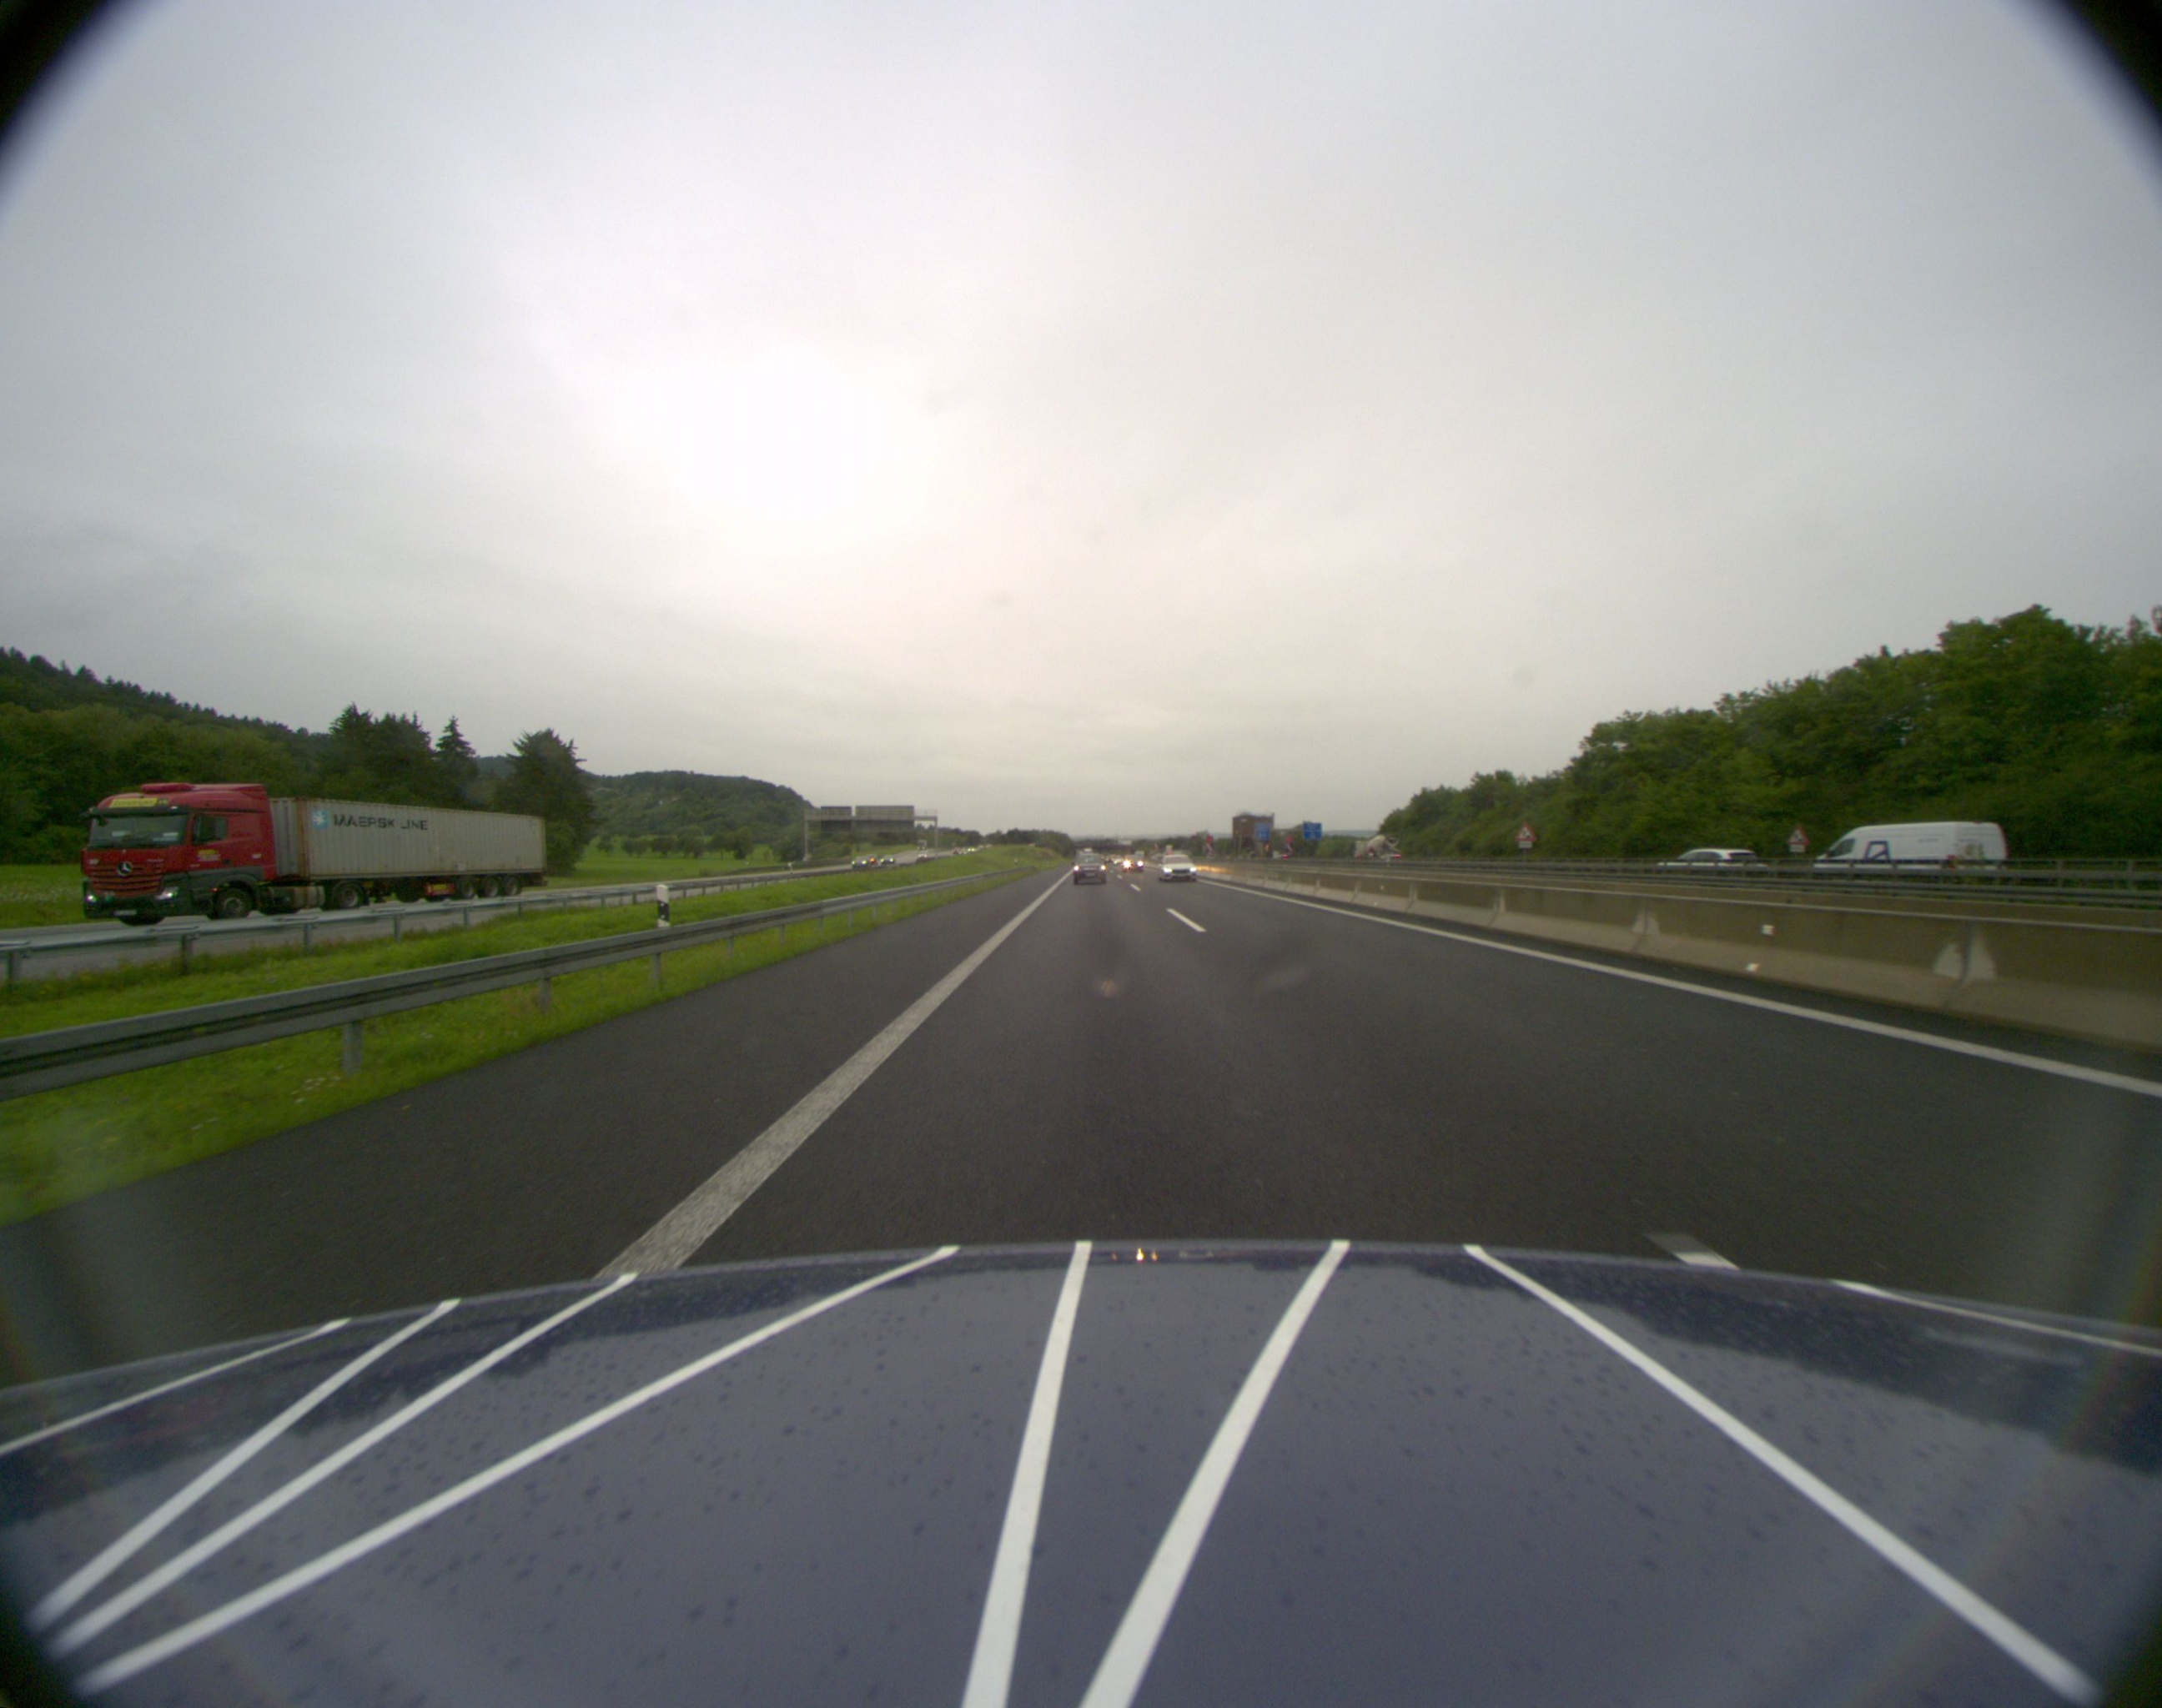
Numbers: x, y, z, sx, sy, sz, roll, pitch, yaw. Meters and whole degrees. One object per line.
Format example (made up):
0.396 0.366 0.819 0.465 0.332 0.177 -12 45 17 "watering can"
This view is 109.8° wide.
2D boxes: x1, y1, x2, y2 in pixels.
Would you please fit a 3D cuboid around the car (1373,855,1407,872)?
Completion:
28.819 0.859 70.978 1.593 1.417 3.918 -2 0 2 "car"

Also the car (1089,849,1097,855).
2.900 -0.472 187.242 1.942 1.341 4.000 -3 0 1 "car"

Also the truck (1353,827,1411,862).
33.520 -1.028 85.194 2.692 3.640 9.557 -1 0 0 "truck"

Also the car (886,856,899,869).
-30.039 1.303 121.244 1.654 2.002 3.996 -1 0 -9 "car"

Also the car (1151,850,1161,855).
19.403 -0.389 196.339 1.998 1.427 4.679 -2 0 0 "car"

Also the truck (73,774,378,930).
-25.025 -0.074 22.772 2.515 3.964 5.925 -3 1 -5 "truck"

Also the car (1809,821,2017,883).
32.506 -0.073 30.036 1.998 2.200 5.715 -1 0 0 "car"

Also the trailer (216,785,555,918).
-25.599 -0.108 29.492 2.498 3.961 12.398 -3 1 -5 "trailer"

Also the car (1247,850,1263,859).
31.094 0.075 135.935 1.998 1.398 4.676 -1 0 1 "car"

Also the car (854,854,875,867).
-28.410 0.810 99.675 2.000 1.710 4.315 -1 0 -8 "car"

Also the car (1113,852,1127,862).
6.111 0.471 119.111 1.941 1.341 4.000 -2 0 2 "car"

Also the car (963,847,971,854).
-33.988 -0.932 226.471 1.734 2.002 3.999 -2 1 0 "car"

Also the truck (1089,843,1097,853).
4.001 -1.843 255.188 2.728 3.098 7.960 -3 0 1 "truck"

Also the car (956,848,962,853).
-38.558 -1.174 240.544 1.584 1.543 3.998 -3 1 -5 "car"

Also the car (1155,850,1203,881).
5.359 0.585 42.071 1.998 1.582 4.816 -1 0 0 "car"

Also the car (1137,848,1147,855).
15.379 -0.579 192.339 2.363 1.683 5.907 -1 0 2 "car"

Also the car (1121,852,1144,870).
4.537 0.606 66.884 1.835 1.417 4.368 -2 0 2 "car"

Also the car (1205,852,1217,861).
30.596 0.536 178.454 1.999 2.002 4.714 -2 1 0 "car"

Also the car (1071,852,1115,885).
0.709 0.730 41.419 2.242 1.565 4.817 -2 0 2 "car"

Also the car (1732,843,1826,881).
39.729 0.429 43.361 1.754 2.002 4.000 -1 0 2 "car"

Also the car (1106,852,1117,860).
6.282 0.378 157.017 1.998 1.565 4.000 -2 0 1 "car"

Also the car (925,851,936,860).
-34.214 0.243 172.552 1.999 2.002 3.998 -1 0 -4 "car"

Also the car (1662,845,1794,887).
28.570 0.488 33.787 1.999 1.727 4.582 -1 0 0 "car"
